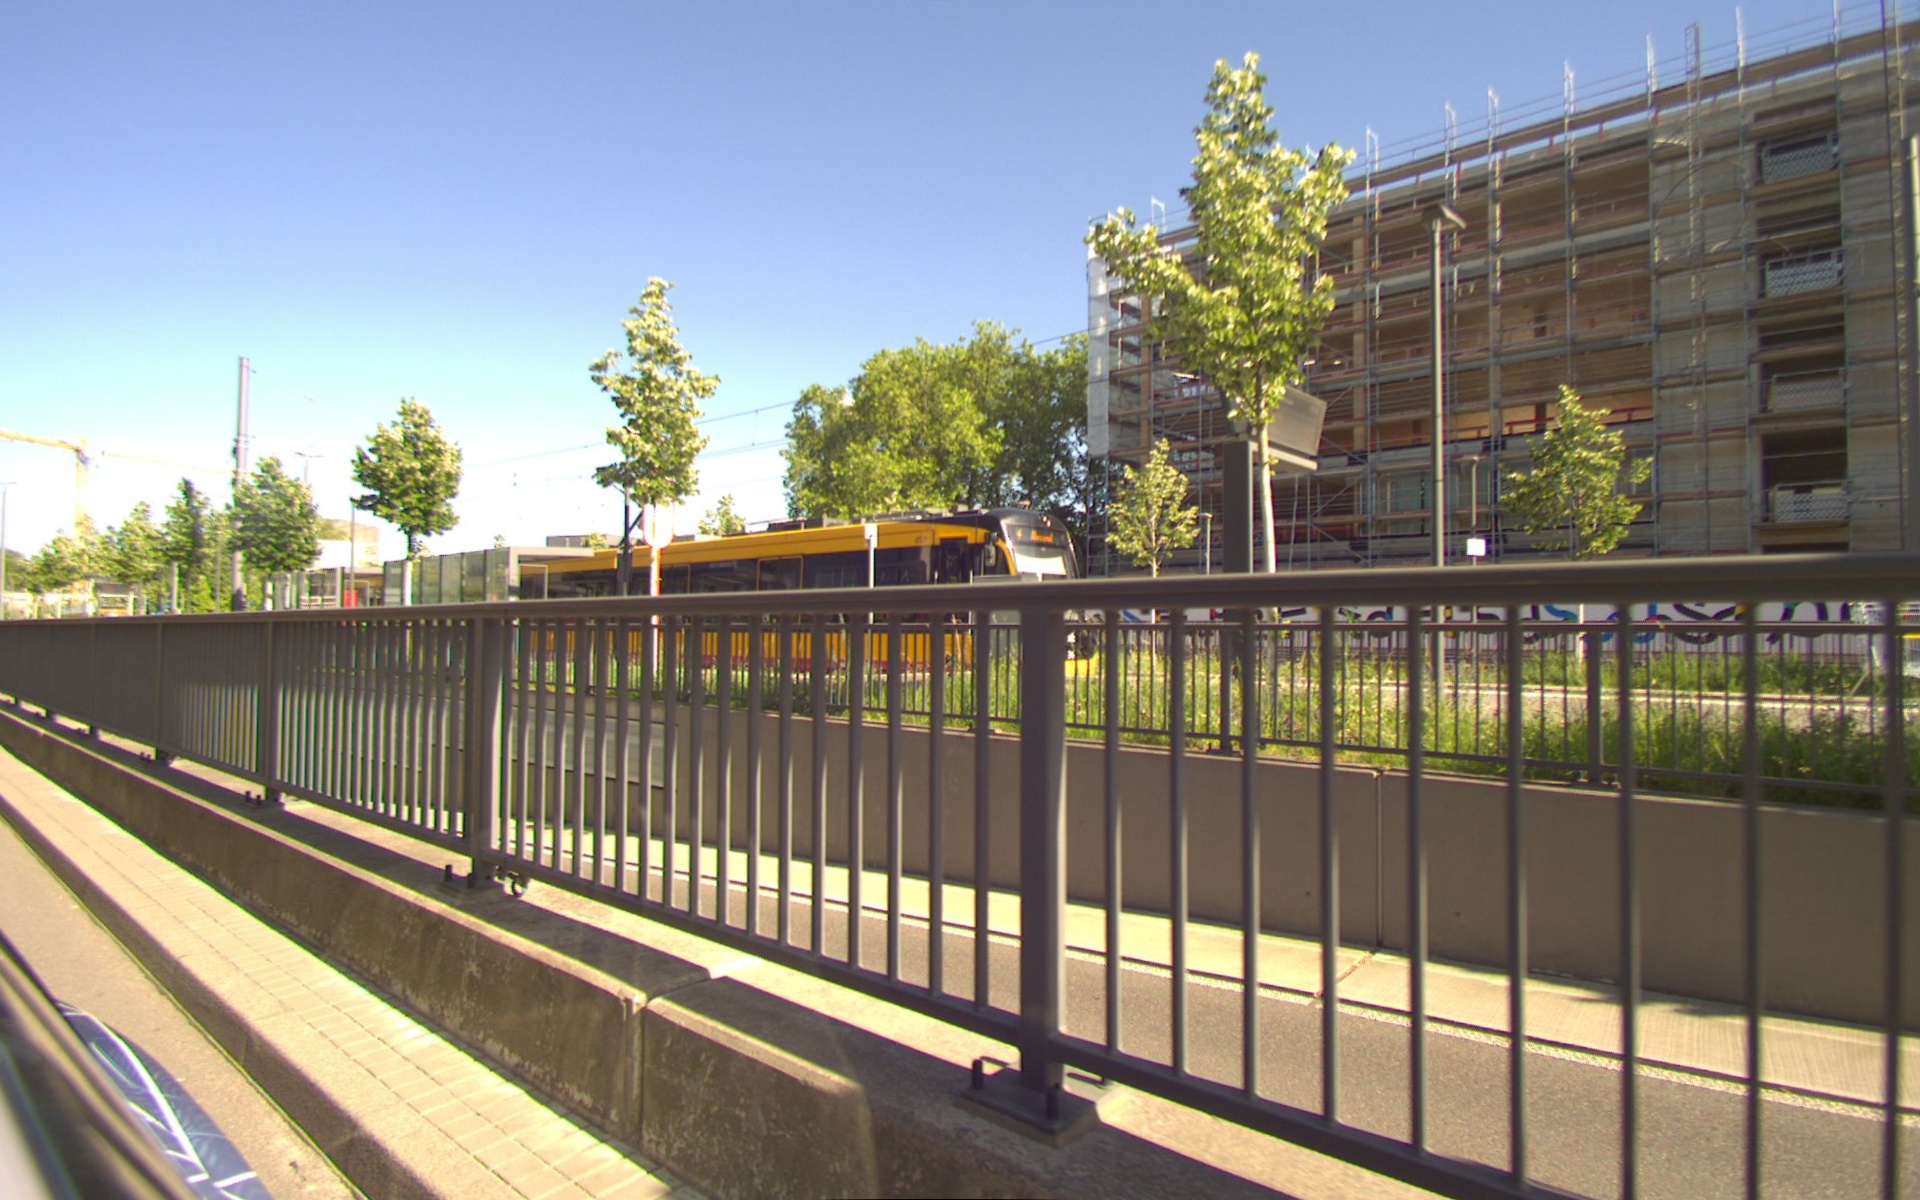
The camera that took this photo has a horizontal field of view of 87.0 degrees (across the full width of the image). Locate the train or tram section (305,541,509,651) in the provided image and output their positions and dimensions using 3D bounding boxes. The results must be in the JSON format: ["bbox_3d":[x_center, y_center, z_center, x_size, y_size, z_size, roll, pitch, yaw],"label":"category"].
[{"bbox_3d":[-21.616,0.025,38.996,12.786,3.666,2.785,-1,-3,42],"label":"train or tram section"}]

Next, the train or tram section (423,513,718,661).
[{"bbox_3d":[-12.166,-0.156,30.393,12.786,3.666,2.785,-1,-3,42],"label":"train or tram section"}]

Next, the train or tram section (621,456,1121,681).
[{"bbox_3d":[-2.701,-0.355,21.790,12.786,3.666,2.785,-1,-3,42],"label":"train or tram section"}]
